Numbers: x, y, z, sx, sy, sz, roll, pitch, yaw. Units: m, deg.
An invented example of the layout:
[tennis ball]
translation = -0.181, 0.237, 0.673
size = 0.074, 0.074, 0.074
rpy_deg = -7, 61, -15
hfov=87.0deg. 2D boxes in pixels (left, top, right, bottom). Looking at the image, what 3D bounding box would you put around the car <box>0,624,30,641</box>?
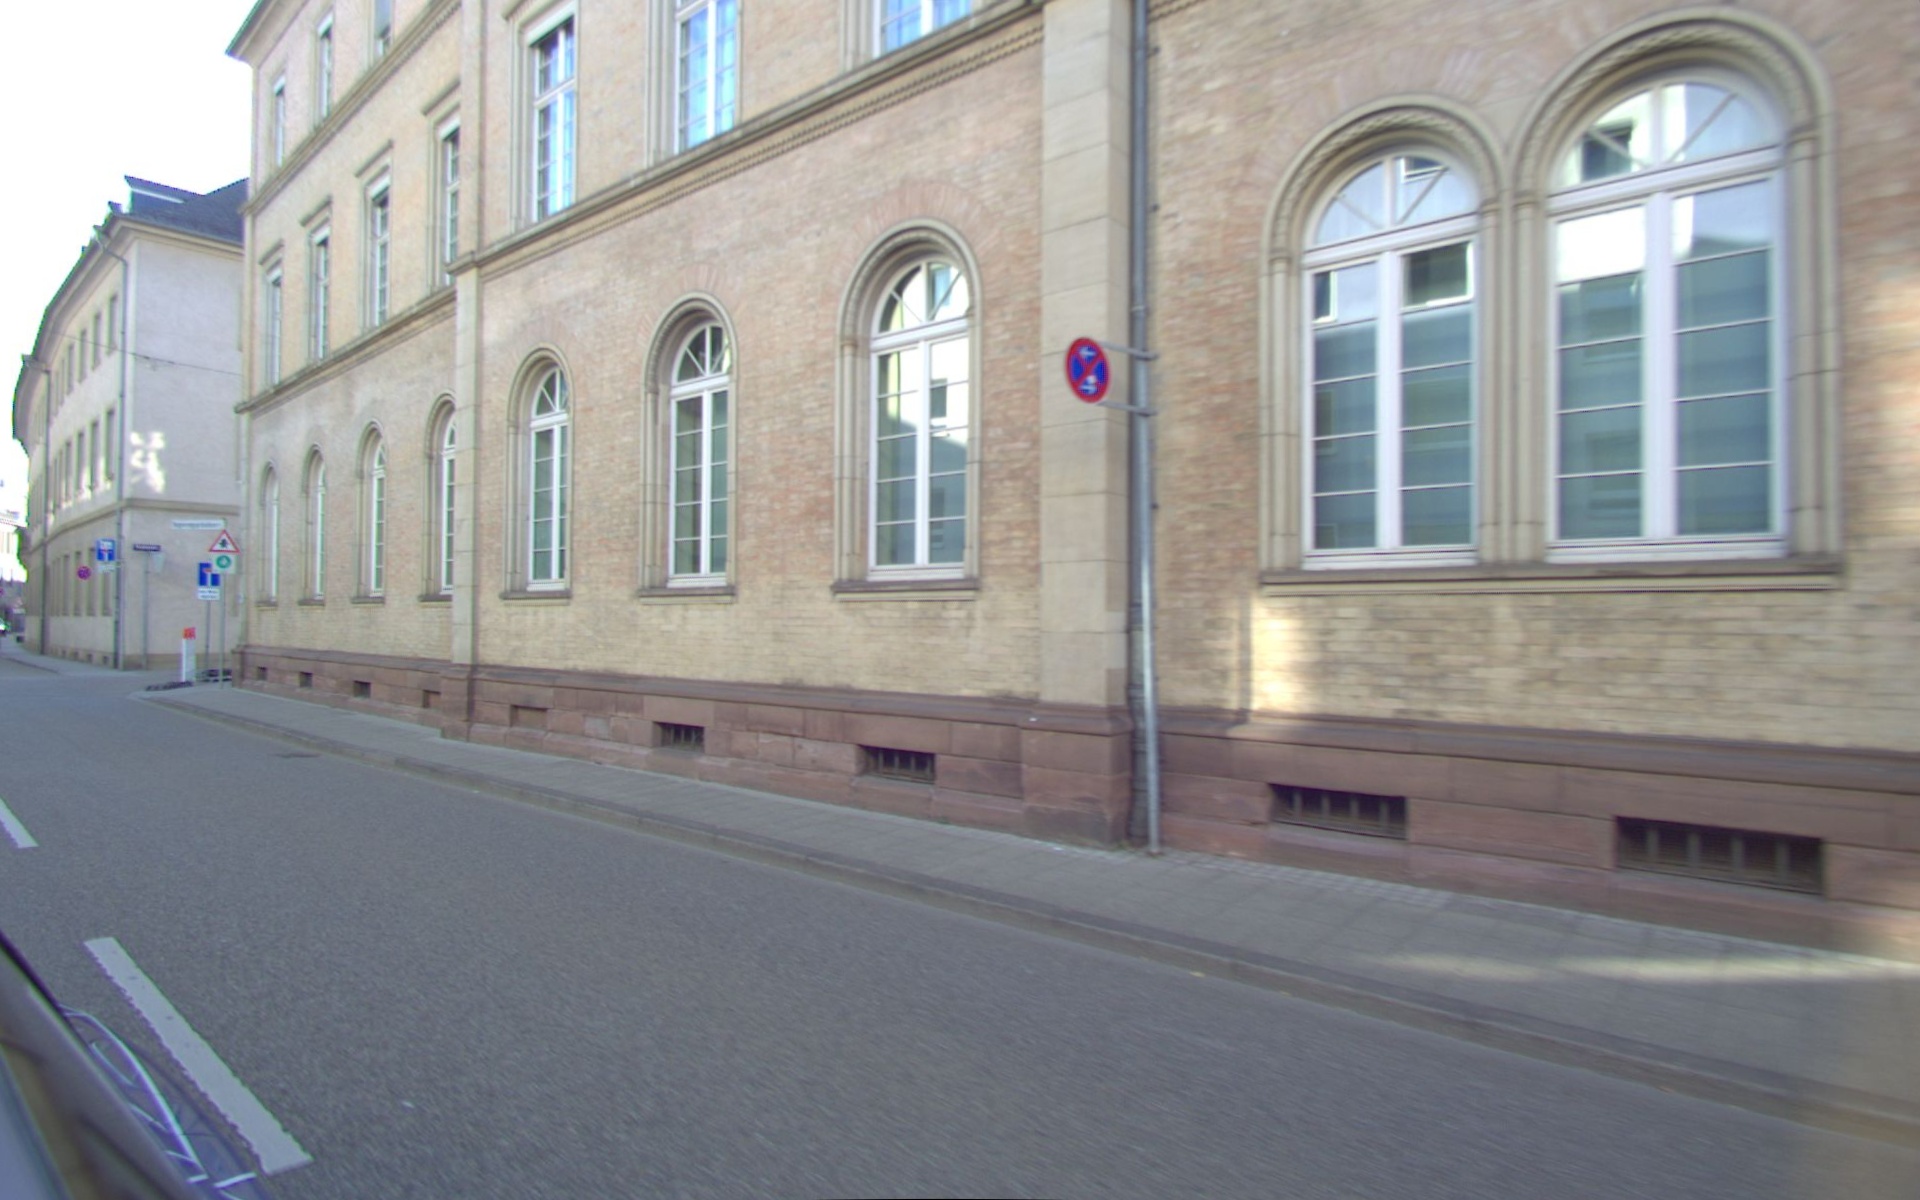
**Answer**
[car]
translation = -100.565, 3.420, 107.530
size = 1.747, 1.595, 3.868
rpy_deg = -4, 1, -30
